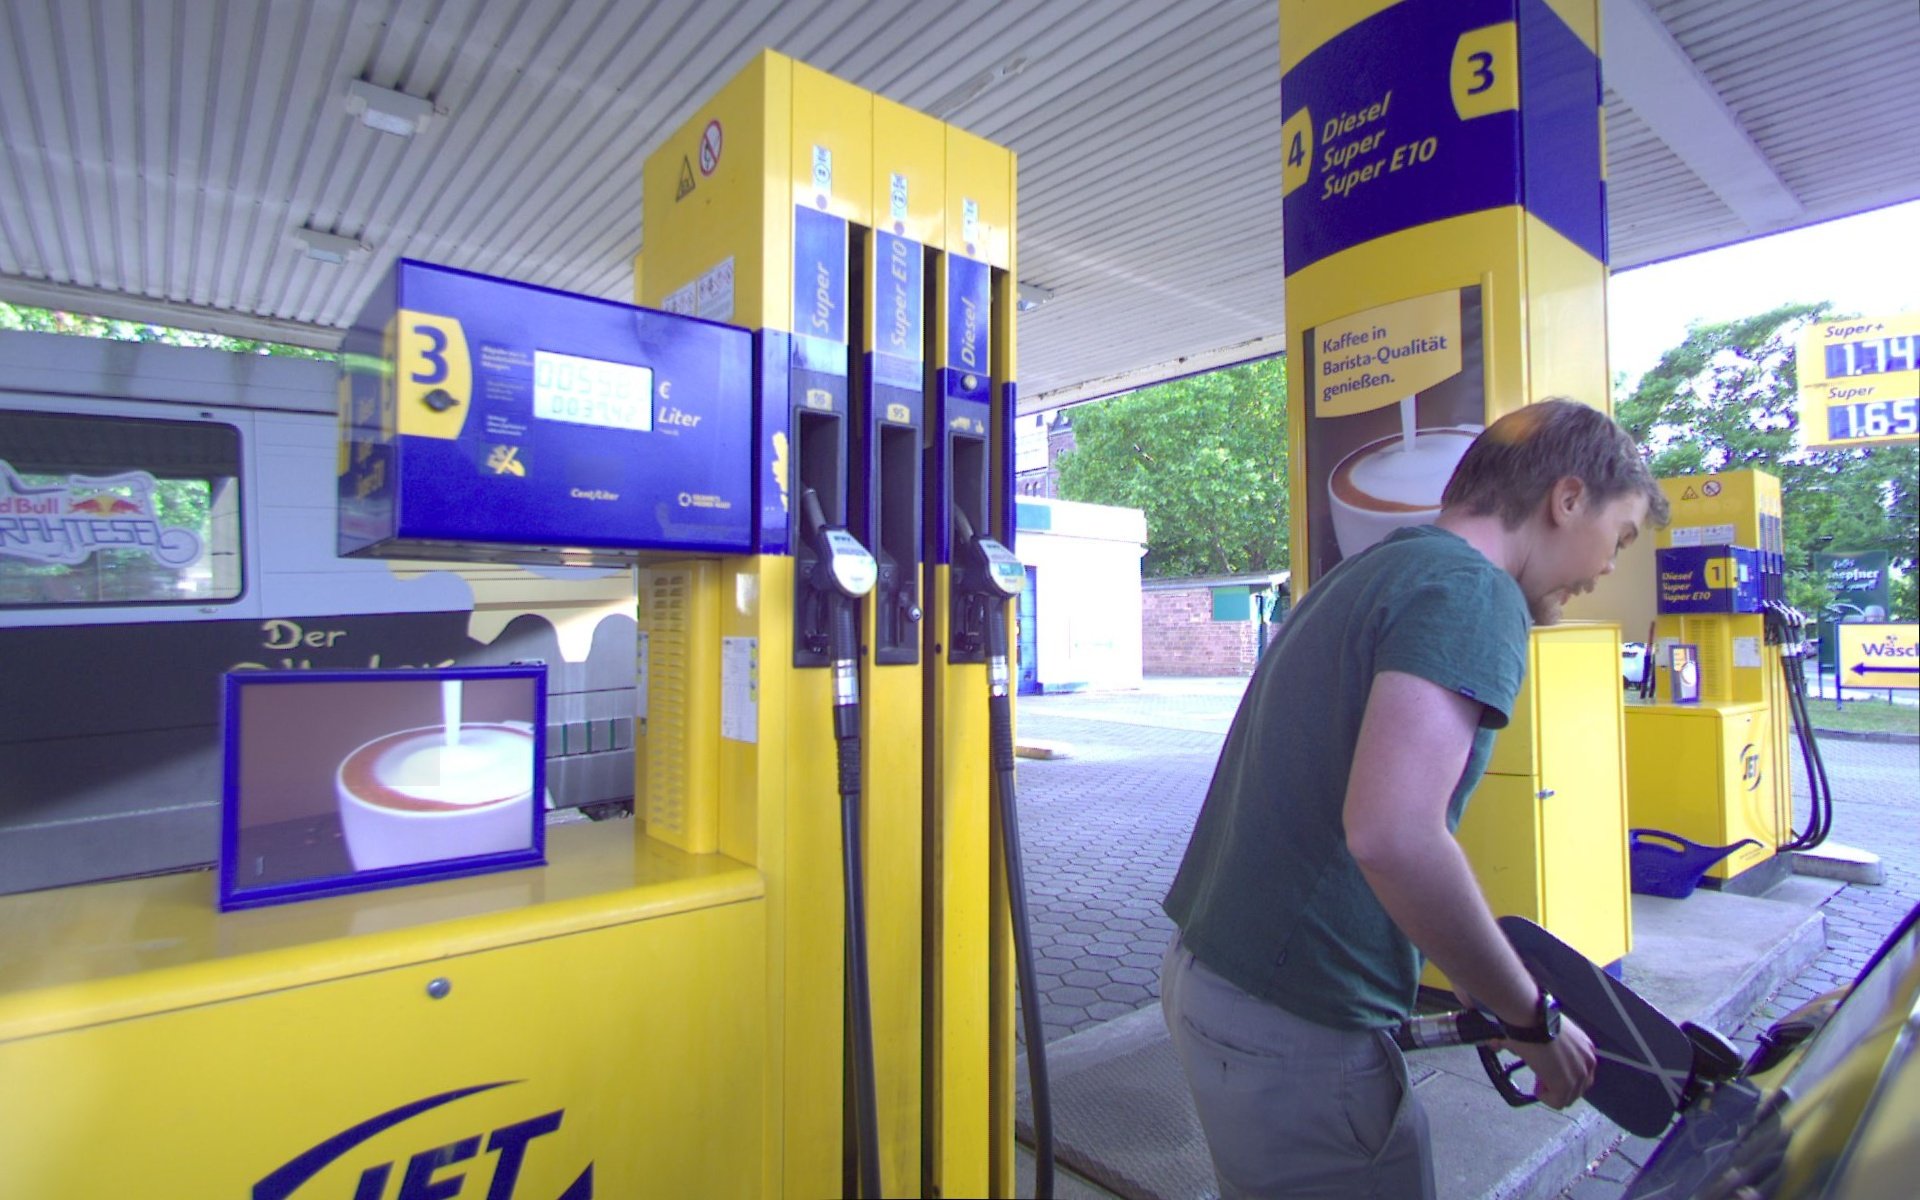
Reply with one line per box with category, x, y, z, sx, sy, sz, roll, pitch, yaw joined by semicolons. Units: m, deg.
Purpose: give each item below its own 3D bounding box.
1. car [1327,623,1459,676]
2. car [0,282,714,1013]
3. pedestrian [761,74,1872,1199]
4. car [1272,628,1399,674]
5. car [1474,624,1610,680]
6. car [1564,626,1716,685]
car;13.779;1.569;32.168;4.112;1.606;1.826;2;-3;-31
car;-4.100;0.187;4.854;5.248;2.760;2.201;0;-1;-39
pedestrian;0.488;0.514;1.421;1.161;1.750;0.993;-2;1;-38
car;12.639;1.700;34.031;4.112;1.453;1.826;2;-3;-31
car;17.768;1.578;30.850;4.112;1.606;1.826;2;-3;-31
car;18.251;1.487;27.134;4.112;1.478;1.826;2;-3;-31
